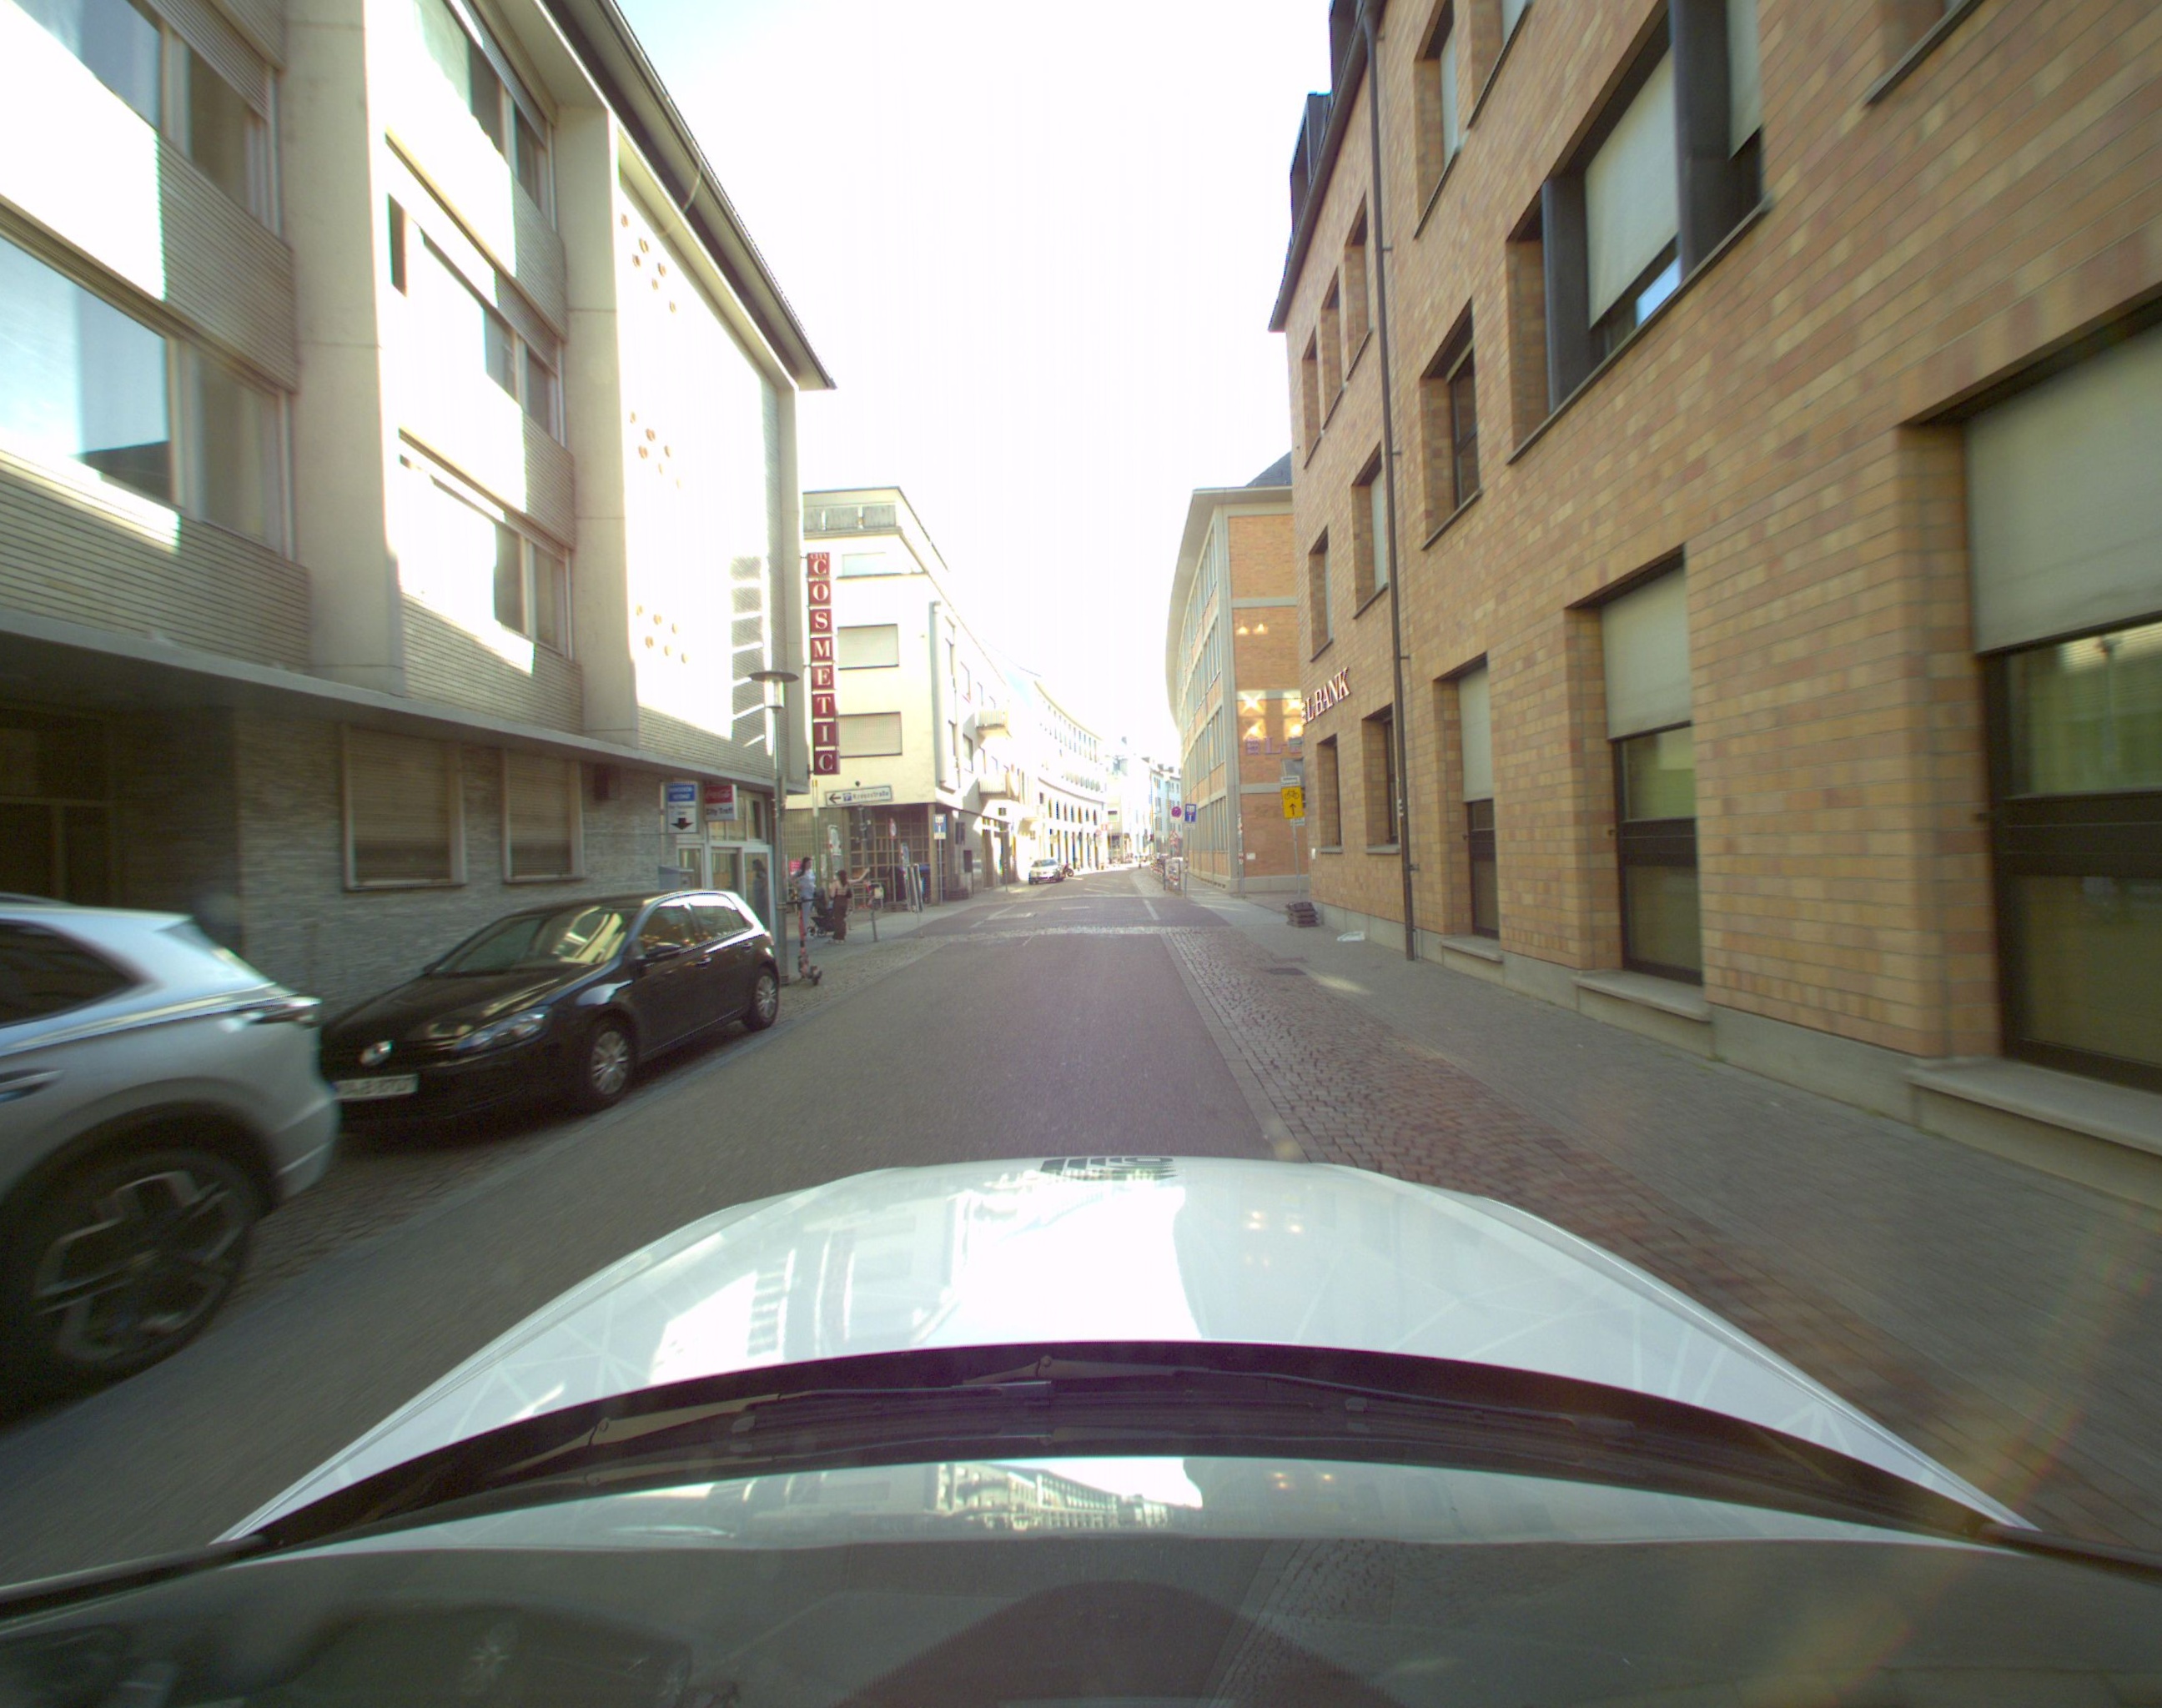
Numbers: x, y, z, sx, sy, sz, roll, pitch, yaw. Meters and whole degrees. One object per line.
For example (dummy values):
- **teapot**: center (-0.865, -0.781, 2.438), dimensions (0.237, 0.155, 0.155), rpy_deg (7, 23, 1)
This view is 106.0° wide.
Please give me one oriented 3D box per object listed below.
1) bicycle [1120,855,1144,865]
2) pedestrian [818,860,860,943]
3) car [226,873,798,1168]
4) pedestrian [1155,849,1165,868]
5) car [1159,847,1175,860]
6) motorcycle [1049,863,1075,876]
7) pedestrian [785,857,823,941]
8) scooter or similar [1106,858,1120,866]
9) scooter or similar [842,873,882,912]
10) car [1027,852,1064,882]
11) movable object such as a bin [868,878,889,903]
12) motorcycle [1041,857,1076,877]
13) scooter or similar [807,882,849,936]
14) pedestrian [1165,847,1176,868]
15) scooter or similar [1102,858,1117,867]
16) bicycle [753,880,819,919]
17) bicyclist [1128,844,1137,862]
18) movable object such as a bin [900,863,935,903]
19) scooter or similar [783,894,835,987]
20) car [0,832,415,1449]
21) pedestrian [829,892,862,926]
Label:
- **bicycle**: center (6.706, 0.764, 107.126), dimensions (3.065, 1.354, 0.704), rpy_deg (-1, -1, 15)
- **pedestrian**: center (-4.942, 0.953, 16.621), dimensions (0.650, 1.625, 0.452), rpy_deg (-2, 0, -40)
- **car**: center (-3.971, 1.006, 6.675), dimensions (1.642, 1.460, 4.001), rpy_deg (-5, 0, 2)
- **pedestrian**: center (7.759, 0.470, 80.052), dimensions (0.663, 1.869, 0.779), rpy_deg (0, -1, -28)
- **car**: center (11.465, -0.112, 108.634), dimensions (1.726, 1.606, 3.543), rpy_deg (-4, 0, 10)
- **motorcycle**: center (-1.254, 1.028, 54.373), dimensions (1.682, 0.859, 0.595), rpy_deg (-1, -1, 7)
- **pedestrian**: center (-5.899, 0.953, 17.343), dimensions (0.443, 1.738, 0.556), rpy_deg (-2, 0, 25)
- **scooter or similar**: center (3.642, 0.915, 92.865), dimensions (0.520, 0.928, 2.242), rpy_deg (-1, 0, 32)
- **scooter or similar**: center (-7.388, 1.300, 27.505), dimensions (1.153, 1.207, 0.480), rpy_deg (-3, 0, 2)
- **car**: center (-1.989, 0.740, 46.822), dimensions (1.729, 1.606, 3.535), rpy_deg (-1, 0, 3)
- **movable object such as a bin**: center (-7.262, 1.304, 29.269), dimensions (0.540, 0.902, 0.519), rpy_deg (0, -1, -45)
- **motorcycle**: center (-1.619, 0.911, 58.148), dimensions (2.381, 1.317, 0.862), rpy_deg (-3, 0, 2)
- **scooter or similar**: center (-5.699, 1.220, 18.336), dimensions (0.794, 1.161, 0.629), rpy_deg (0, -1, -28)
- **pedestrian**: center (8.190, 0.323, 74.666), dimensions (0.663, 1.869, 0.754), rpy_deg (0, -1, -28)
- **scooter or similar**: center (3.167, 0.898, 89.790), dimensions (0.520, 0.928, 2.242), rpy_deg (-1, 0, 32)
- **bicycle**: center (-9.698, 1.489, 26.817), dimensions (1.863, 1.158, 0.718), rpy_deg (-3, 0, 4)
- **bicyclist**: center (6.794, -0.103, 107.135), dimensions (1.082, 2.389, 0.744), rpy_deg (-1, -1, 15)
- **movable object such as a bin**: center (-6.013, 1.047, 29.934), dimensions (0.939, 1.420, 0.873), rpy_deg (0, -1, -45)
- **scooter or similar**: center (-3.817, 1.176, 11.381), dimensions (0.415, 1.198, 1.111), rpy_deg (-7, 0, -27)
- **car**: center (-4.061, 0.861, 1.485), dimensions (1.883, 1.742, 4.393), rpy_deg (-3, 0, 2)
- **pedestrian**: center (-5.346, 1.245, 18.485), dimensions (0.585, 0.715, 0.641), rpy_deg (-2, 0, -28)
